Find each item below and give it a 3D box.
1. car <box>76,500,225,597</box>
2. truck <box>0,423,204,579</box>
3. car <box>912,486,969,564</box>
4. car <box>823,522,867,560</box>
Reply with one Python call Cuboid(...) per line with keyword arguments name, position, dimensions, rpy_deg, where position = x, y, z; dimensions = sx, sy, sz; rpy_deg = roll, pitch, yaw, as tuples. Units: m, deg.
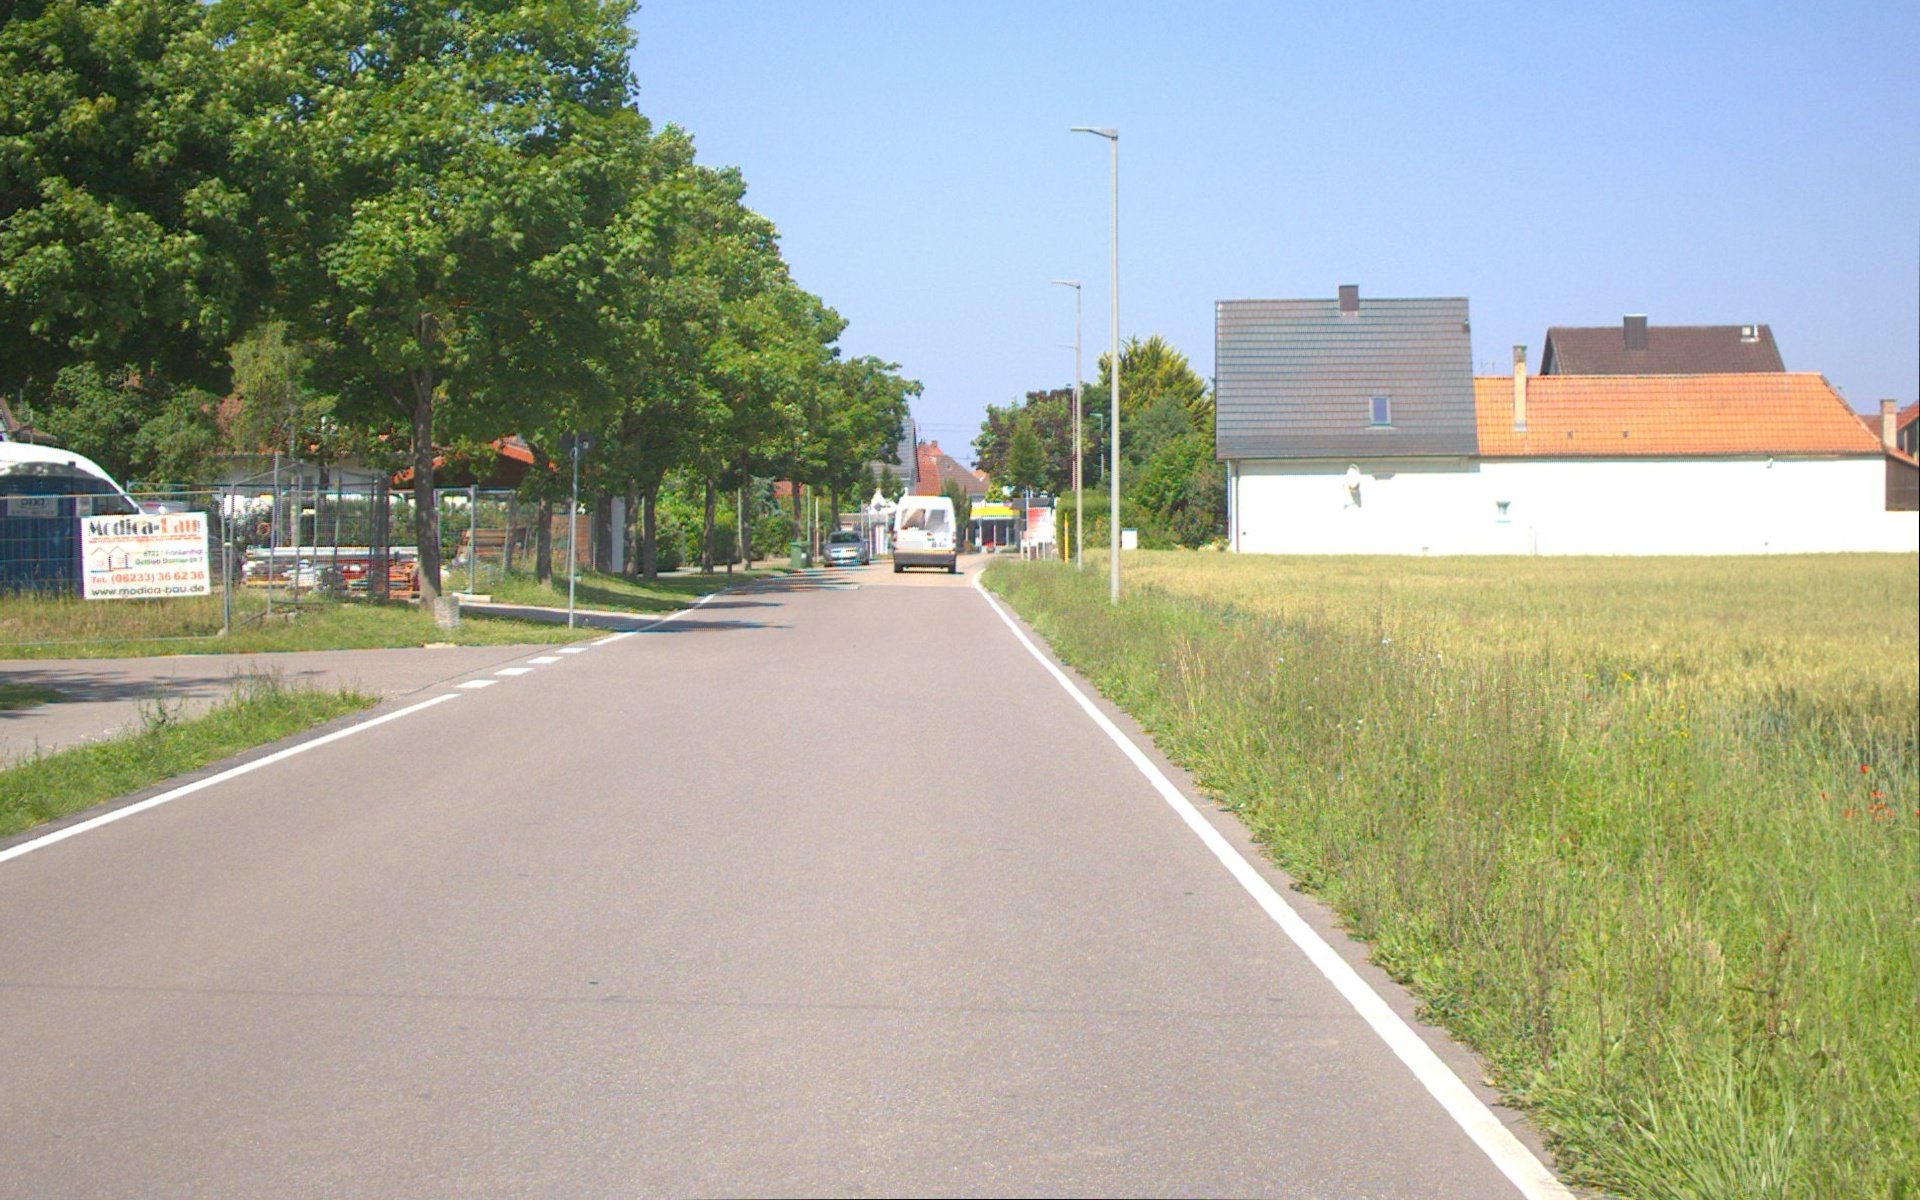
Cuboid(name="car", position=(-15.801, -1.021, 67.298), dimensions=(1.970, 1.832, 4.329), rpy_deg=(0, 1, -1))
Cuboid(name="truck", position=(-15.417, -1.586, 55.680), dimensions=(5.914, 2.475, 2.000), rpy_deg=(-1, 1, -37))
Cuboid(name="car", position=(-0.618, -2.416, 111.256), dimensions=(1.737, 2.424, 4.374), rpy_deg=(-1, 1, 1))
Cuboid(name="car", position=(-4.695, -2.409, 140.521), dimensions=(1.647, 1.419, 4.080), rpy_deg=(-3, 1, 0))
